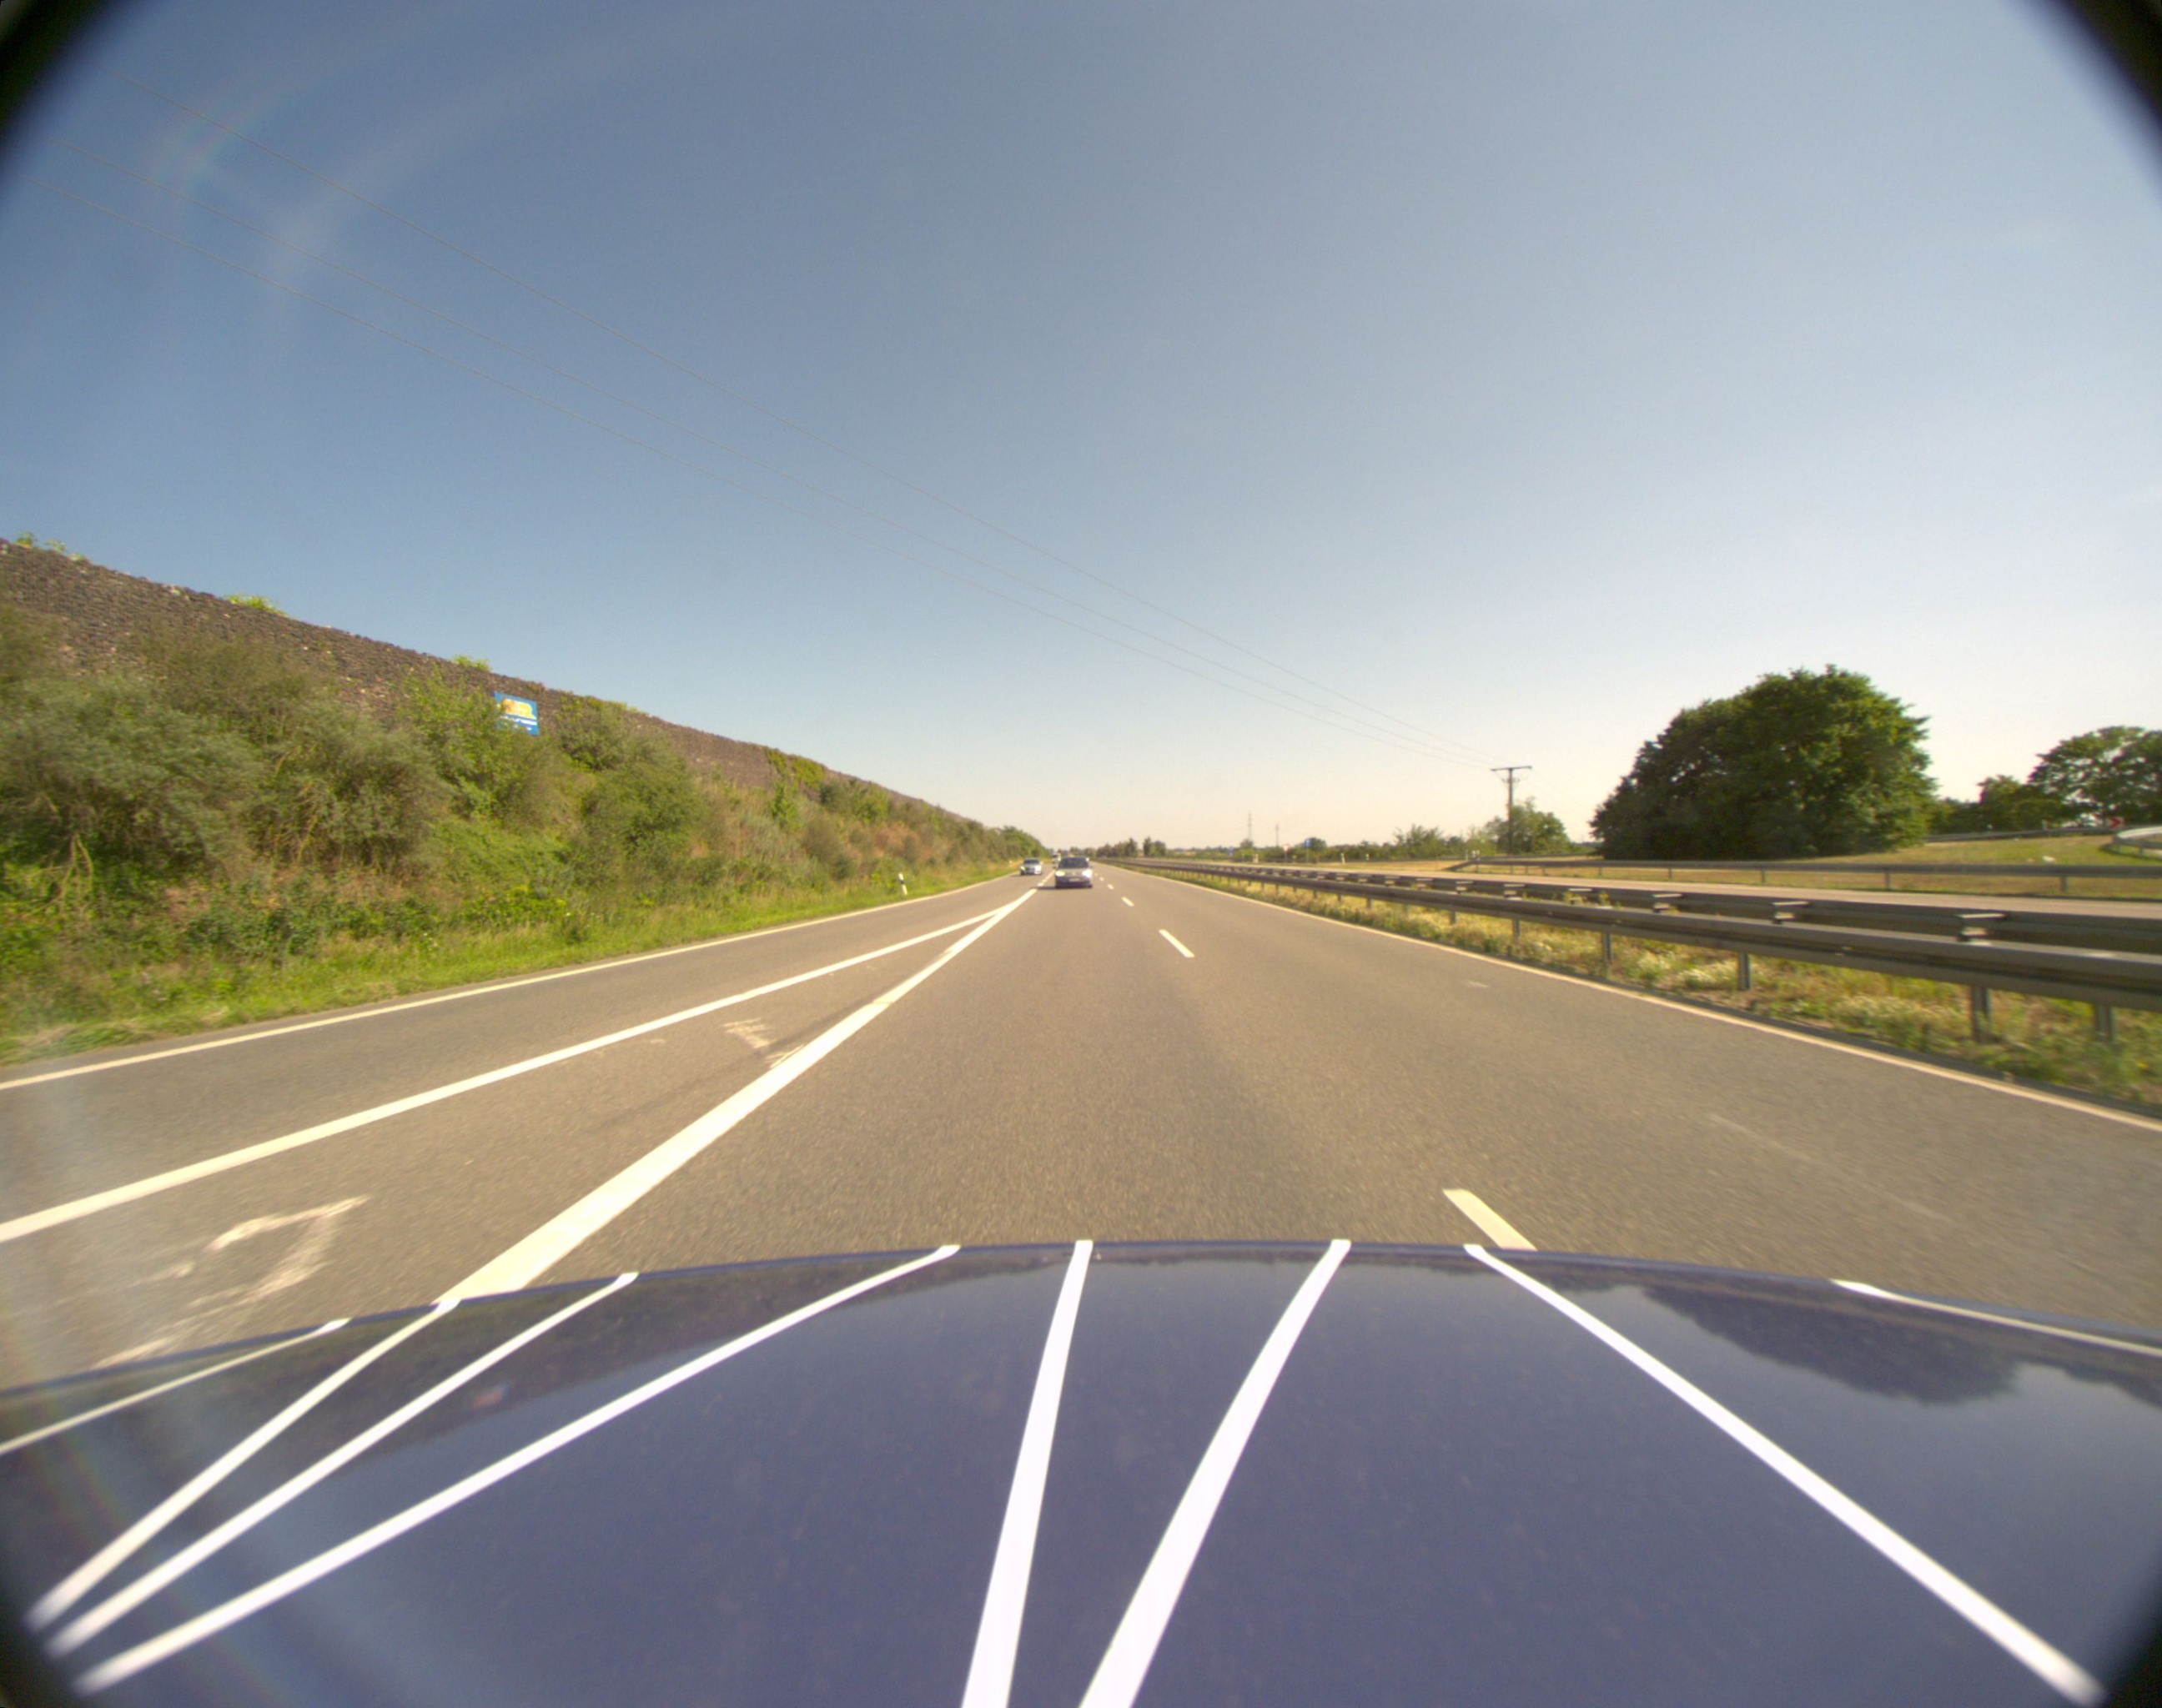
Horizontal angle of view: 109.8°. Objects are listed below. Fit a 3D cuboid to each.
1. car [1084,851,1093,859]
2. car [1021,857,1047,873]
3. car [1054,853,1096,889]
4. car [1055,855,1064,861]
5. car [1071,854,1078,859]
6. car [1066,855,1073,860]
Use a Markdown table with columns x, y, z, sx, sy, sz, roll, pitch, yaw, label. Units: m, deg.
| x | y | z | sx | sy | sz | roll | pitch | yaw | label |
| --- | --- | --- | --- | --- | --- | --- | --- | --- | --- |
| 1.624 | 0.274 | 168.543 | 1.791 | 1.659 | 3.999 | -2 | 0 | -3 | car |
| -4.083 | 0.957 | 66.174 | 1.854 | 1.212 | 4.000 | -2 | 0 | 2 | car |
| -0.254 | 0.780 | 37.568 | 1.854 | 1.635 | 4.000 | -2 | 0 | 2 | car |
| -4.568 | 0.844 | 159.778 | 1.790 | 1.212 | 4.000 | -2 | 0 | 0 | car |
| -1.941 | 0.746 | 231.696 | 1.854 | 1.602 | 4.000 | -2 | 0 | 2 | car |
| -2.857 | 0.875 | 189.595 | 1.854 | 1.212 | 4.000 | -2 | 0 | 0 | car |
